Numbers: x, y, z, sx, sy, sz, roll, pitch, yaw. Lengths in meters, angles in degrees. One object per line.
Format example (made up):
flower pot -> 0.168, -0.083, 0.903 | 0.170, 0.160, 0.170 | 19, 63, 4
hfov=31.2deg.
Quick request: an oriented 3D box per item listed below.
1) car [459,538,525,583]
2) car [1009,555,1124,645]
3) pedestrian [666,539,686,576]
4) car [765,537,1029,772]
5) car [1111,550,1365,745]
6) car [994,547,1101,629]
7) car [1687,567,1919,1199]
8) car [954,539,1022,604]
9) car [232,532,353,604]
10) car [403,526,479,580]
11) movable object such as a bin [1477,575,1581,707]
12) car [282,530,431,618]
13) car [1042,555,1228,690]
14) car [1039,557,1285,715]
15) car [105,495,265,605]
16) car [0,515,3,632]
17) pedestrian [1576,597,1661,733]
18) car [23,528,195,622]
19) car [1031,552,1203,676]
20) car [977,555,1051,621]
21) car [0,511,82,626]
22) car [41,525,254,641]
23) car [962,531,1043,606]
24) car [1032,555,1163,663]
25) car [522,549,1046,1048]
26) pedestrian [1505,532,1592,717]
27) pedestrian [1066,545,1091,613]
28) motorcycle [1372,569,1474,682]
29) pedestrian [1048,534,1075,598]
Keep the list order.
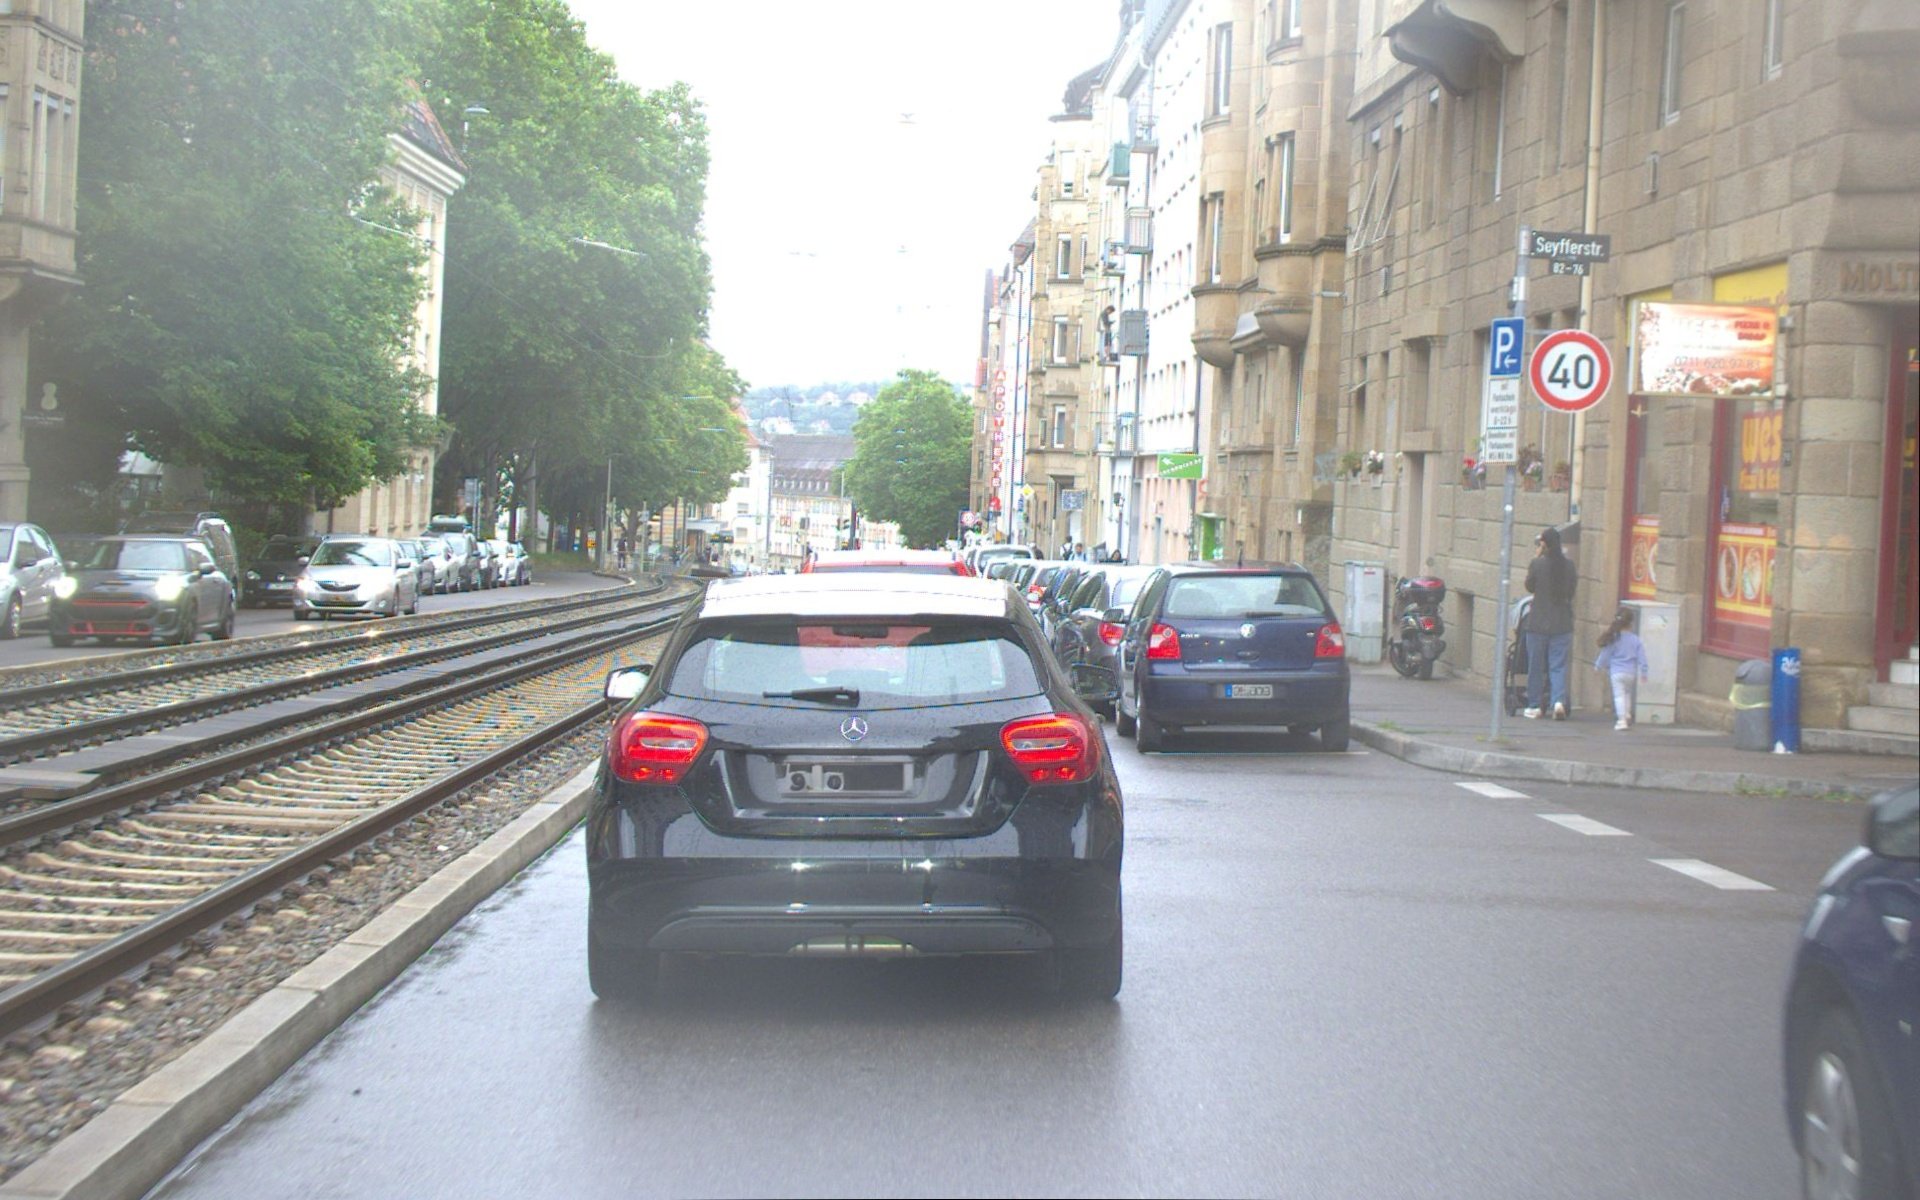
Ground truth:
car -> -14.566, -1.249, 107.158 | 1.500, 1.386, 3.987 | 0, 1, 0
car -> 1.749, -0.018, 57.515 | 1.590, 1.429, 3.684 | 1, 1, -3
pedestrian -> -12.427, -1.868, 150.629 | 0.806, 1.628, 0.892 | 0, 1, 0
car -> -0.471, 0.348, 25.840 | 1.785, 1.575, 4.000 | 2, 1, -1
car -> 2.143, 0.326, 27.373 | 1.671, 1.439, 3.790 | 0, 1, -1
car -> 1.563, -0.240, 62.611 | 1.667, 1.429, 3.956 | 1, 1, -2
car -> 2.618, 0.702, 5.626 | 1.690, 1.477, 3.931 | 0, 1, -5
car -> 0.773, -0.838, 98.637 | 1.828, 1.744, 4.467 | 2, 1, 0
car -> -13.952, -0.686, 72.039 | 1.849, 1.459, 4.551 | 0, 1, -3
car -> -13.895, -1.256, 92.180 | 1.539, 1.409, 3.953 | 0, 1, -2
movable object such as a bin -> 4.961, 0.350, 30.031 | 0.665, 1.099, 1.124 | 2, 1, -1
car -> -10.505, -0.467, 60.082 | 1.981, 1.452, 4.295 | 1, 1, -2
car -> 1.937, 0.219, 39.035 | 1.706, 1.393, 4.019 | 1, 1, -2
car -> 1.851, 0.290, 32.837 | 1.754, 1.382, 4.486 | 0, 1, -4
car -> -13.586, -0.882, 60.537 | 1.800, 1.840, 4.819 | 0, 1, -1
car -> -13.300, -0.329, 42.410 | 1.870, 1.503, 4.169 | 1, 1, -1
pedestrian -> 5.210, 0.508, 27.216 | 0.510, 1.046, 0.627 | 2, 1, -1
car -> -13.264, -0.407, 53.801 | 1.762, 1.393, 4.270 | 0, 1, -2
car -> 1.941, 0.141, 43.607 | 1.787, 1.457, 4.084 | 1, 1, -2
car -> 1.226, -0.293, 79.316 | 1.570, 1.457, 3.600 | 1, 1, -1
car -> -13.431, -0.457, 47.390 | 1.695, 1.518, 3.855 | 1, 1, 0
car -> -10.307, -0.243, 43.838 | 1.704, 1.383, 3.781 | 1, 1, 2
car -> 1.021, -0.779, 83.981 | 1.790, 1.759, 4.212 | 1, 1, -2
car -> 1.892, 0.104, 48.070 | 1.543, 1.410, 3.446 | 1, 1, -2
car -> -0.588, 0.590, 12.430 | 1.580, 1.499, 3.575 | 2, 1, -1
pedestrian -> 4.972, 0.200, 29.081 | 0.561, 1.530, 0.710 | 2, 1, -1
pedestrian -> 3.097, -0.546, 89.820 | 0.607, 1.757, 0.688 | 0, 1, -2
motorcycle -> 5.226, 0.265, 38.971 | 0.705, 1.194, 2.746 | 2, 1, -1
pedestrian -> 2.969, -0.996, 100.284 | 0.746, 1.827, 1.039 | -1, 1, 0
